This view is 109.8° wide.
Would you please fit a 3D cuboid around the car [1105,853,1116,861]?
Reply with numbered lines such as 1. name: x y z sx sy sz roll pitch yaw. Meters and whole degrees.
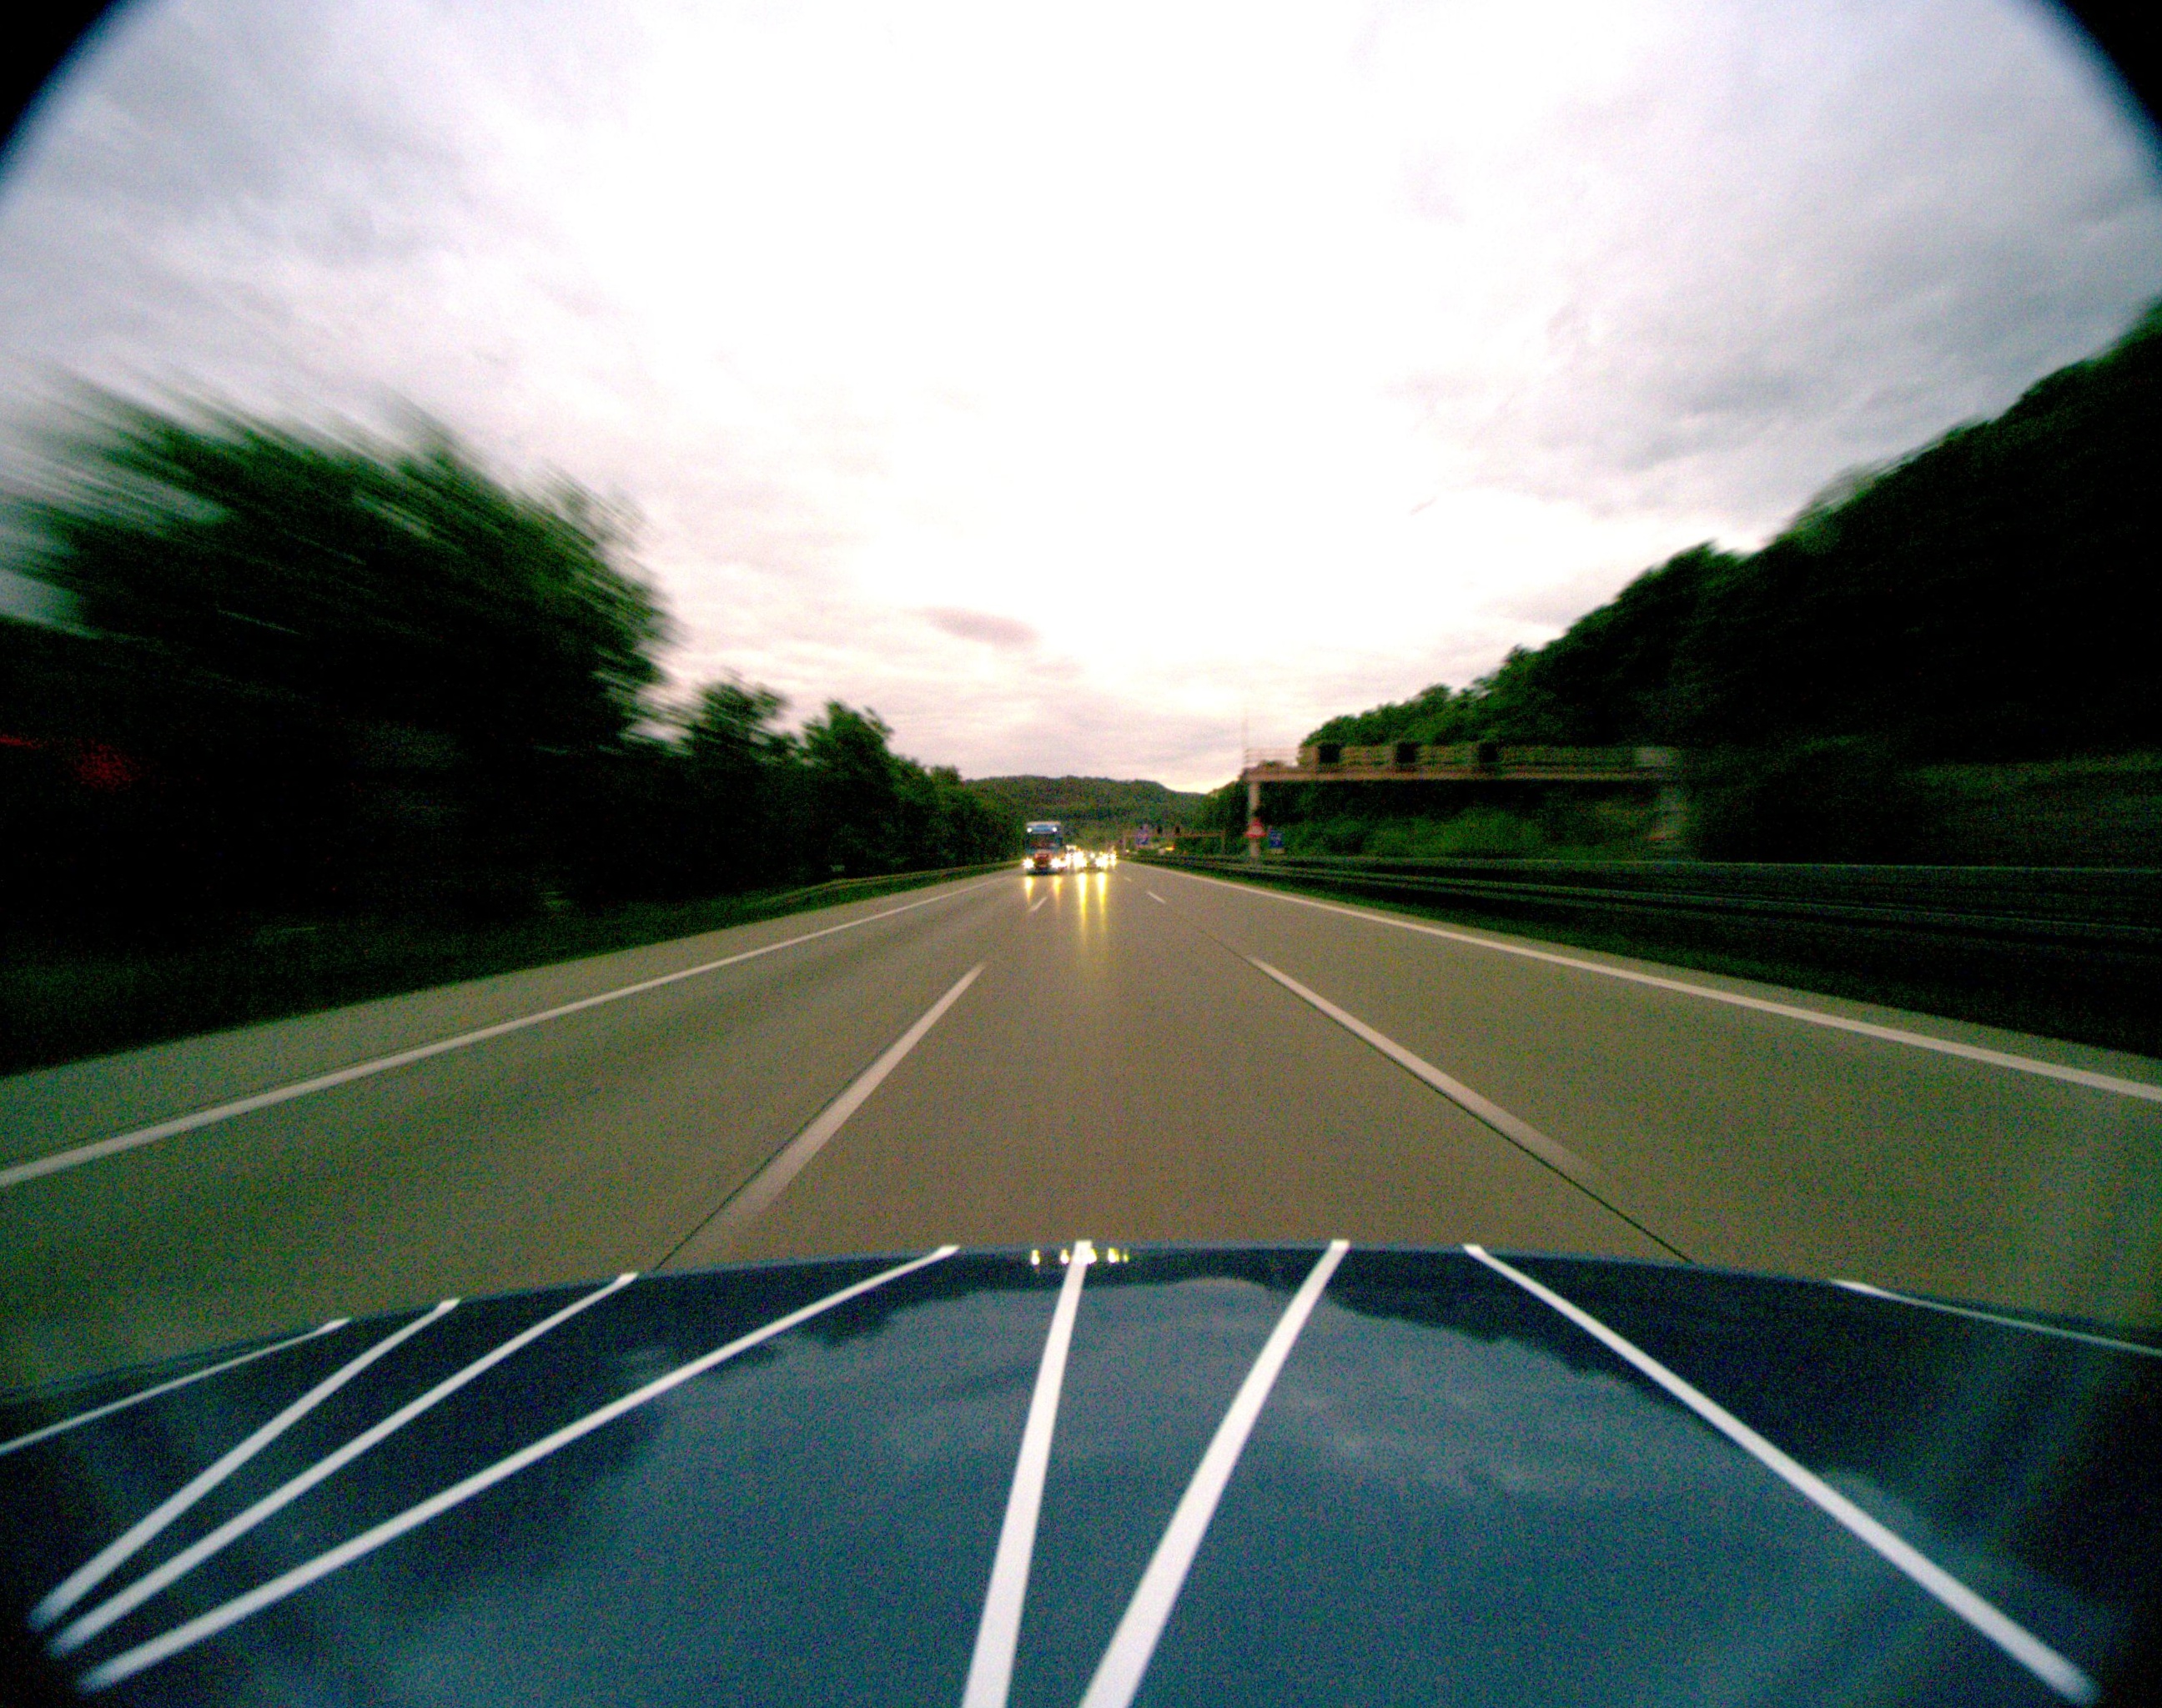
1. car: 5.675 0.583 145.475 1.898 1.503 4.000 -1 0 0

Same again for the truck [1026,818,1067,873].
1. truck: -2.583 -0.632 58.826 2.743 3.973 5.849 -2 0 1

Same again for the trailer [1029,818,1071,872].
1. trailer: -2.479 -0.720 65.703 2.779 4.062 13.738 -2 0 1

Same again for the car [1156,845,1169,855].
1. car: 19.088 -0.990 178.161 2.143 2.345 6.719 -1 0 0

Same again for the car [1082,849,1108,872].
1. car: 1.123 0.492 59.277 1.927 1.674 4.807 0 0 2

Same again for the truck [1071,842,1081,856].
1. truck: -1.473 -1.480 215.635 2.623 3.805 10.385 -1 0 0
